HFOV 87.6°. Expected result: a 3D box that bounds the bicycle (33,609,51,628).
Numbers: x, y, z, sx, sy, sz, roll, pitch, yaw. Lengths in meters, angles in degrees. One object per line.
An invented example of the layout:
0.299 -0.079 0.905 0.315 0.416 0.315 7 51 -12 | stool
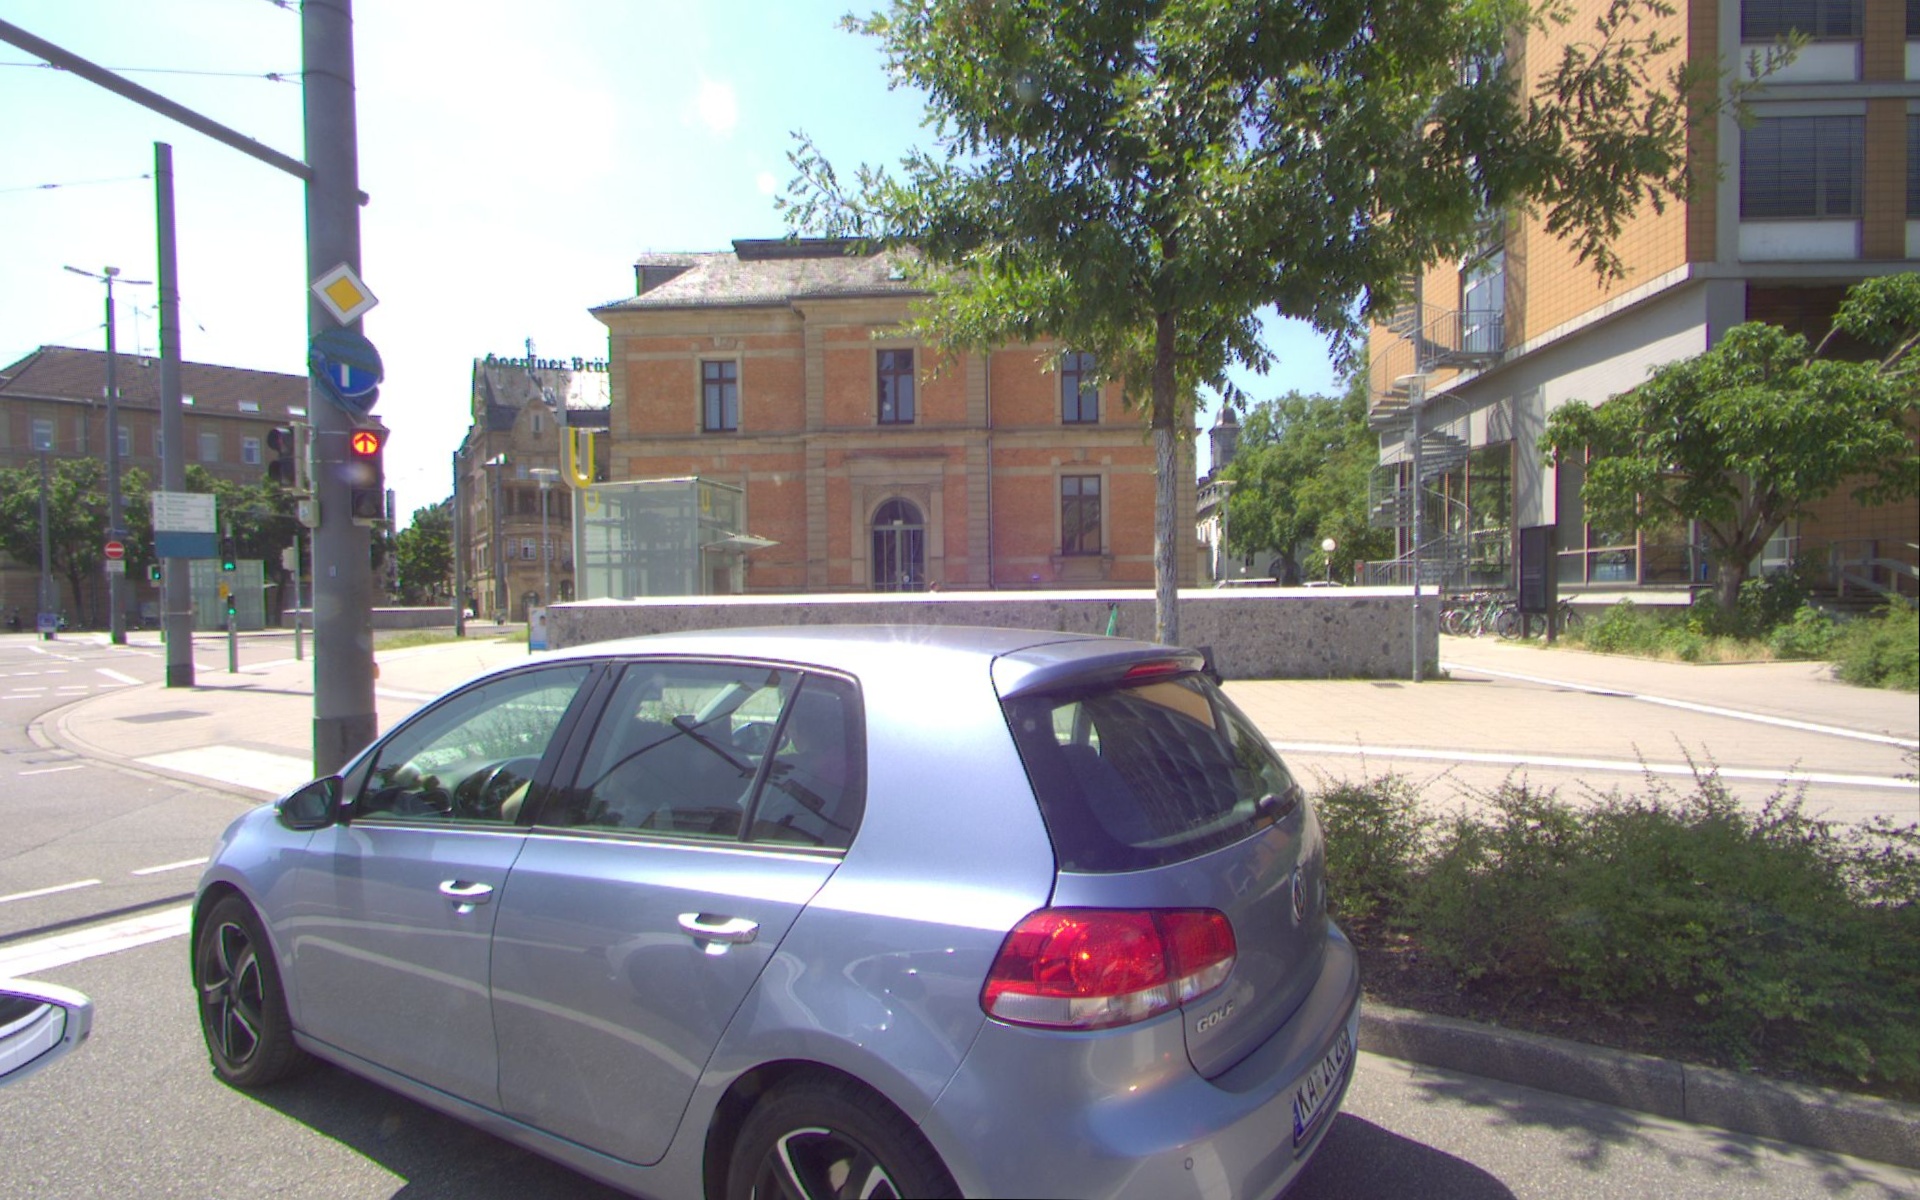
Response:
-55.560 1.113 60.603 1.798 1.135 0.548 0 1 39 | bicycle

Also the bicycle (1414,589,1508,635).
13.583 0.332 27.194 2.175 1.234 0.637 0 -1 5 | bicycle

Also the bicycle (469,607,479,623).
-45.093 1.392 92.898 0.729 1.416 2.004 1 -2 -29 | bicycle

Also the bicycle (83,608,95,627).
-54.176 1.095 62.258 0.547 1.135 1.804 -1 1 -41 | bicycle

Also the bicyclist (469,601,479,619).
-45.015 0.962 92.793 0.729 1.631 1.072 0 -2 -30 | bicyclist

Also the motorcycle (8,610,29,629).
-56.208 1.144 59.796 1.920 1.089 0.578 0 1 36 | motorcycle

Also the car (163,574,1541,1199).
-0.565 0.742 2.995 3.946 1.478 1.648 0 -1 32 | car

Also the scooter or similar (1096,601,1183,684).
2.648 0.616 14.756 1.227 1.186 0.458 0 1 13 | scooter or similar

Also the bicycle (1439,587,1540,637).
13.504 0.316 25.584 2.175 1.234 0.637 0 -1 5 | bicycle

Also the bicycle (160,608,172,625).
-52.132 1.067 65.732 0.547 1.135 1.912 -1 1 -41 | bicycle

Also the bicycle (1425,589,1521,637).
13.577 0.350 26.526 2.175 1.234 0.637 0 -1 5 | bicycle

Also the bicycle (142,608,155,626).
-52.503 1.075 64.779 0.547 1.135 1.854 -1 1 -41 | bicycle

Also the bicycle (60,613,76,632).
-54.916 1.406 61.638 2.069 1.160 0.440 -2 -2 39 | bicycle

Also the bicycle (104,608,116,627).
-53.423 1.096 62.942 0.547 1.135 1.804 -1 1 -41 | bicycle

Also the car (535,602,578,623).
-33.270 1.032 82.612 1.662 1.626 3.651 0 0 8 | car
